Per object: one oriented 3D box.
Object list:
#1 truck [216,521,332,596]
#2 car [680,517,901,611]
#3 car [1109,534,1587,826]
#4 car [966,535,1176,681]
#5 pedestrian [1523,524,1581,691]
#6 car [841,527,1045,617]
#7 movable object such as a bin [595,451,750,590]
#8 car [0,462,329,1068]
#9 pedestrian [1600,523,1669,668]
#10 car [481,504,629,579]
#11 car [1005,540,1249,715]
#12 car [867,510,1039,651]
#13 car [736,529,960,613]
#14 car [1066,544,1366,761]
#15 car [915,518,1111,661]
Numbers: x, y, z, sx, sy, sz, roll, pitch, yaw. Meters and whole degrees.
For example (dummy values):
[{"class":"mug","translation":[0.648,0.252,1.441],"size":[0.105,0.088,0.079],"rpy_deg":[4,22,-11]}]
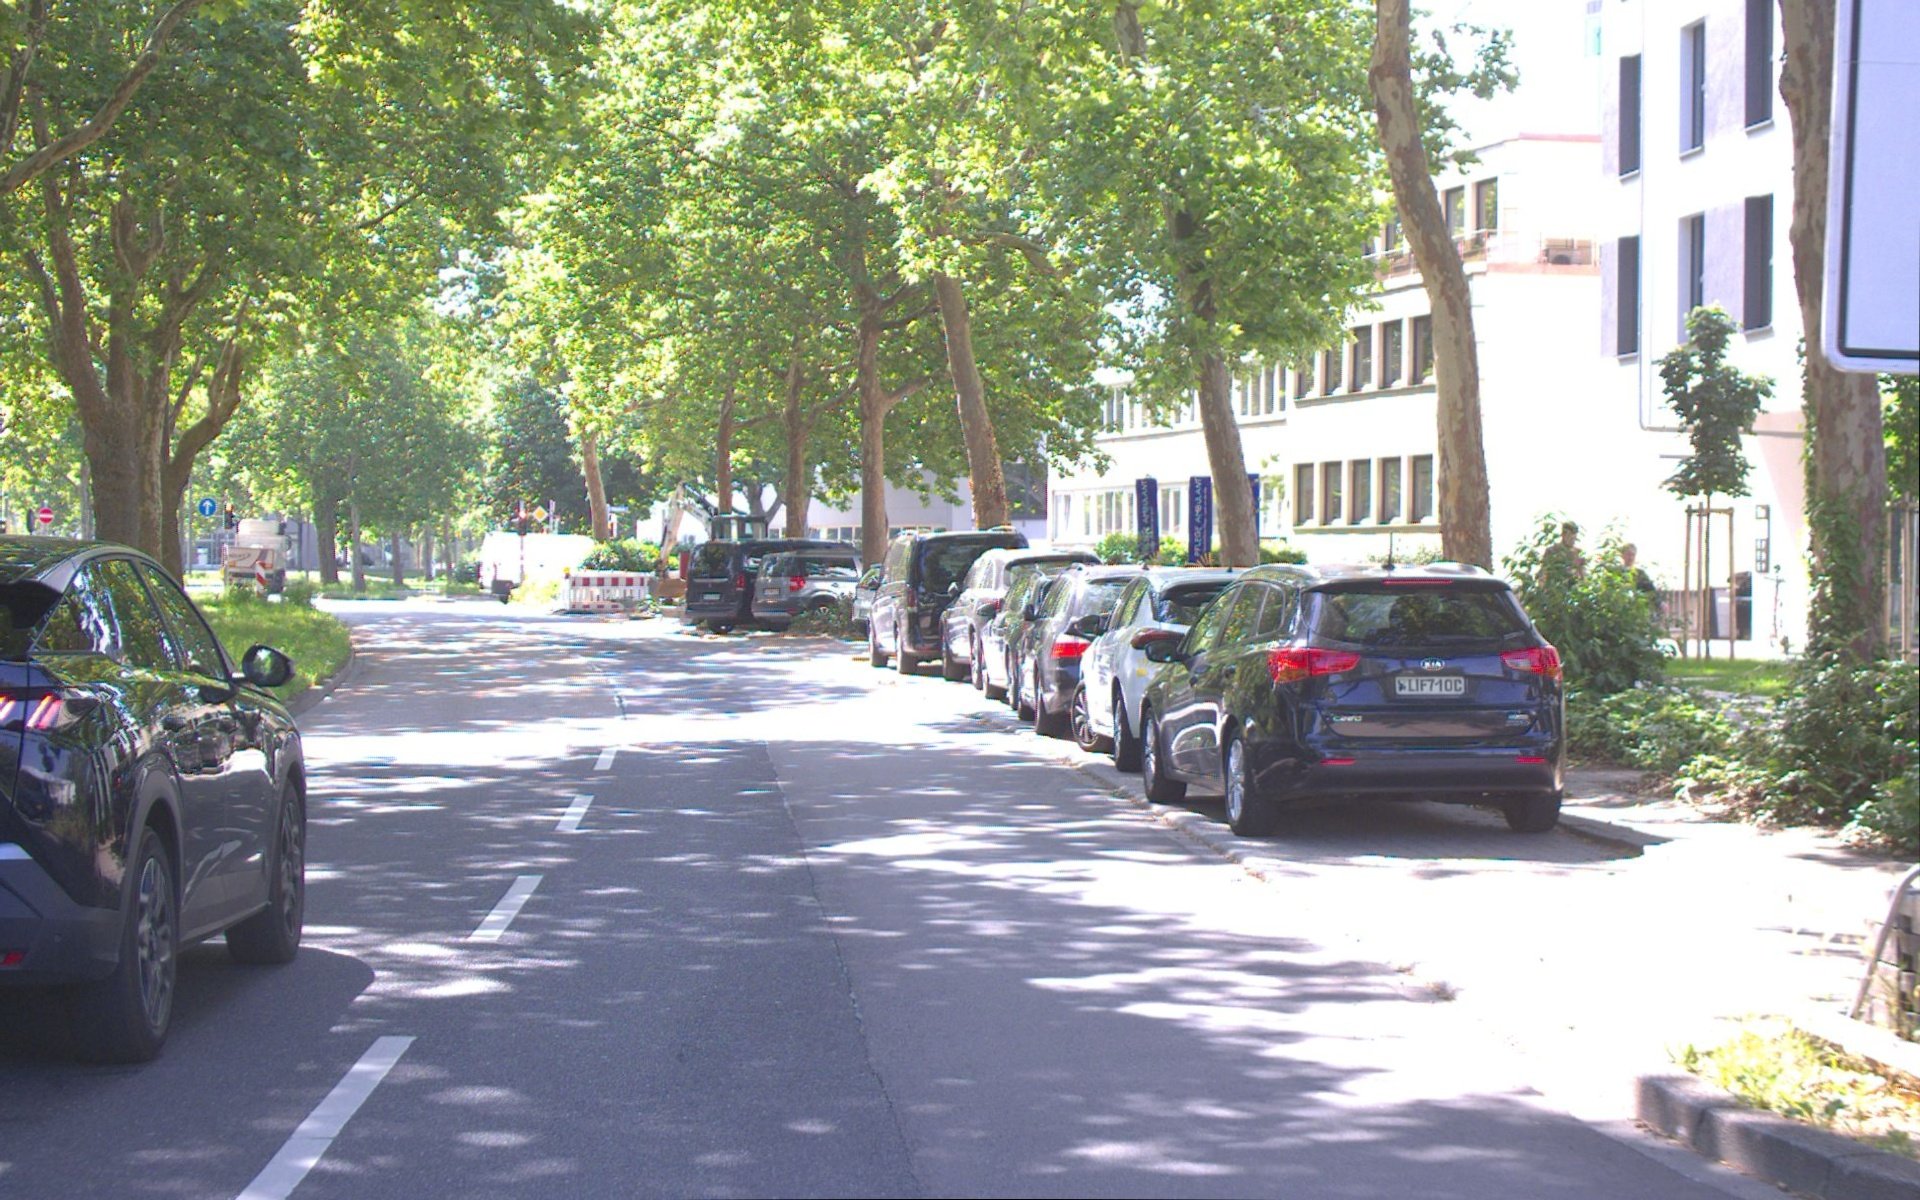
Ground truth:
[{"class":"truck","translation":[-33.662,-2.029,168.840],"size":[5.525,3.666,2.000],"rpy_deg":[0,0,-9]},{"class":"car","translation":[-3.446,-0.723,69.924],"size":[4.099,1.873,1.785],"rpy_deg":[0,0,-25]},{"class":"car","translation":[2.118,0.392,20.156],"size":[1.706,1.482,4.720],"rpy_deg":[-1,0,-7]},{"class":"car","translation":[1.130,0.067,37.060],"size":[1.706,1.482,4.485],"rpy_deg":[0,0,-5]},{"class":"pedestrian","translation":[6.465,0.082,37.555],"size":[0.475,1.802,0.637],"rpy_deg":[0,0,-4]},{"class":"car","translation":[-0.329,-0.520,63.838],"size":[3.551,1.634,1.659],"rpy_deg":[0,0,-10]},{"class":"movable object such as a bin","translation":[-6.883,-1.866,82.156],"size":[2.328,3.230,3.431],"rpy_deg":[0,0,-33]},{"class":"car","translation":[-3.449,0.456,11.798],"size":[1.872,1.690,4.436],"rpy_deg":[0,0,-2]},{"class":"pedestrian","translation":[7.395,-0.054,37.695],"size":[0.613,1.576,0.570],"rpy_deg":[0,0,-4]},{"class":"car","translation":[-14.146,-2.028,119.915],"size":[4.980,2.534,2.001],"rpy_deg":[0,0,-11]},{"class":"car","translation":[1.421,0.213,30.863],"size":[1.706,1.450,4.656],"rpy_deg":[0,0,-3]},{"class":"car","translation":[-0.148,-0.267,47.065],"size":[1.706,1.835,4.727],"rpy_deg":[0,0,-8]},{"class":"car","translation":[-2.226,-0.572,68.191],"size":[4.099,1.628,1.713],"rpy_deg":[0,0,-23]},{"class":"car","translation":[1.821,0.349,25.616],"size":[1.706,1.482,4.101],"rpy_deg":[0,0,-3]},{"class":"car","translation":[0.592,-0.140,42.277],"size":[1.706,1.664,4.535],"rpy_deg":[0,0,-8]}]
